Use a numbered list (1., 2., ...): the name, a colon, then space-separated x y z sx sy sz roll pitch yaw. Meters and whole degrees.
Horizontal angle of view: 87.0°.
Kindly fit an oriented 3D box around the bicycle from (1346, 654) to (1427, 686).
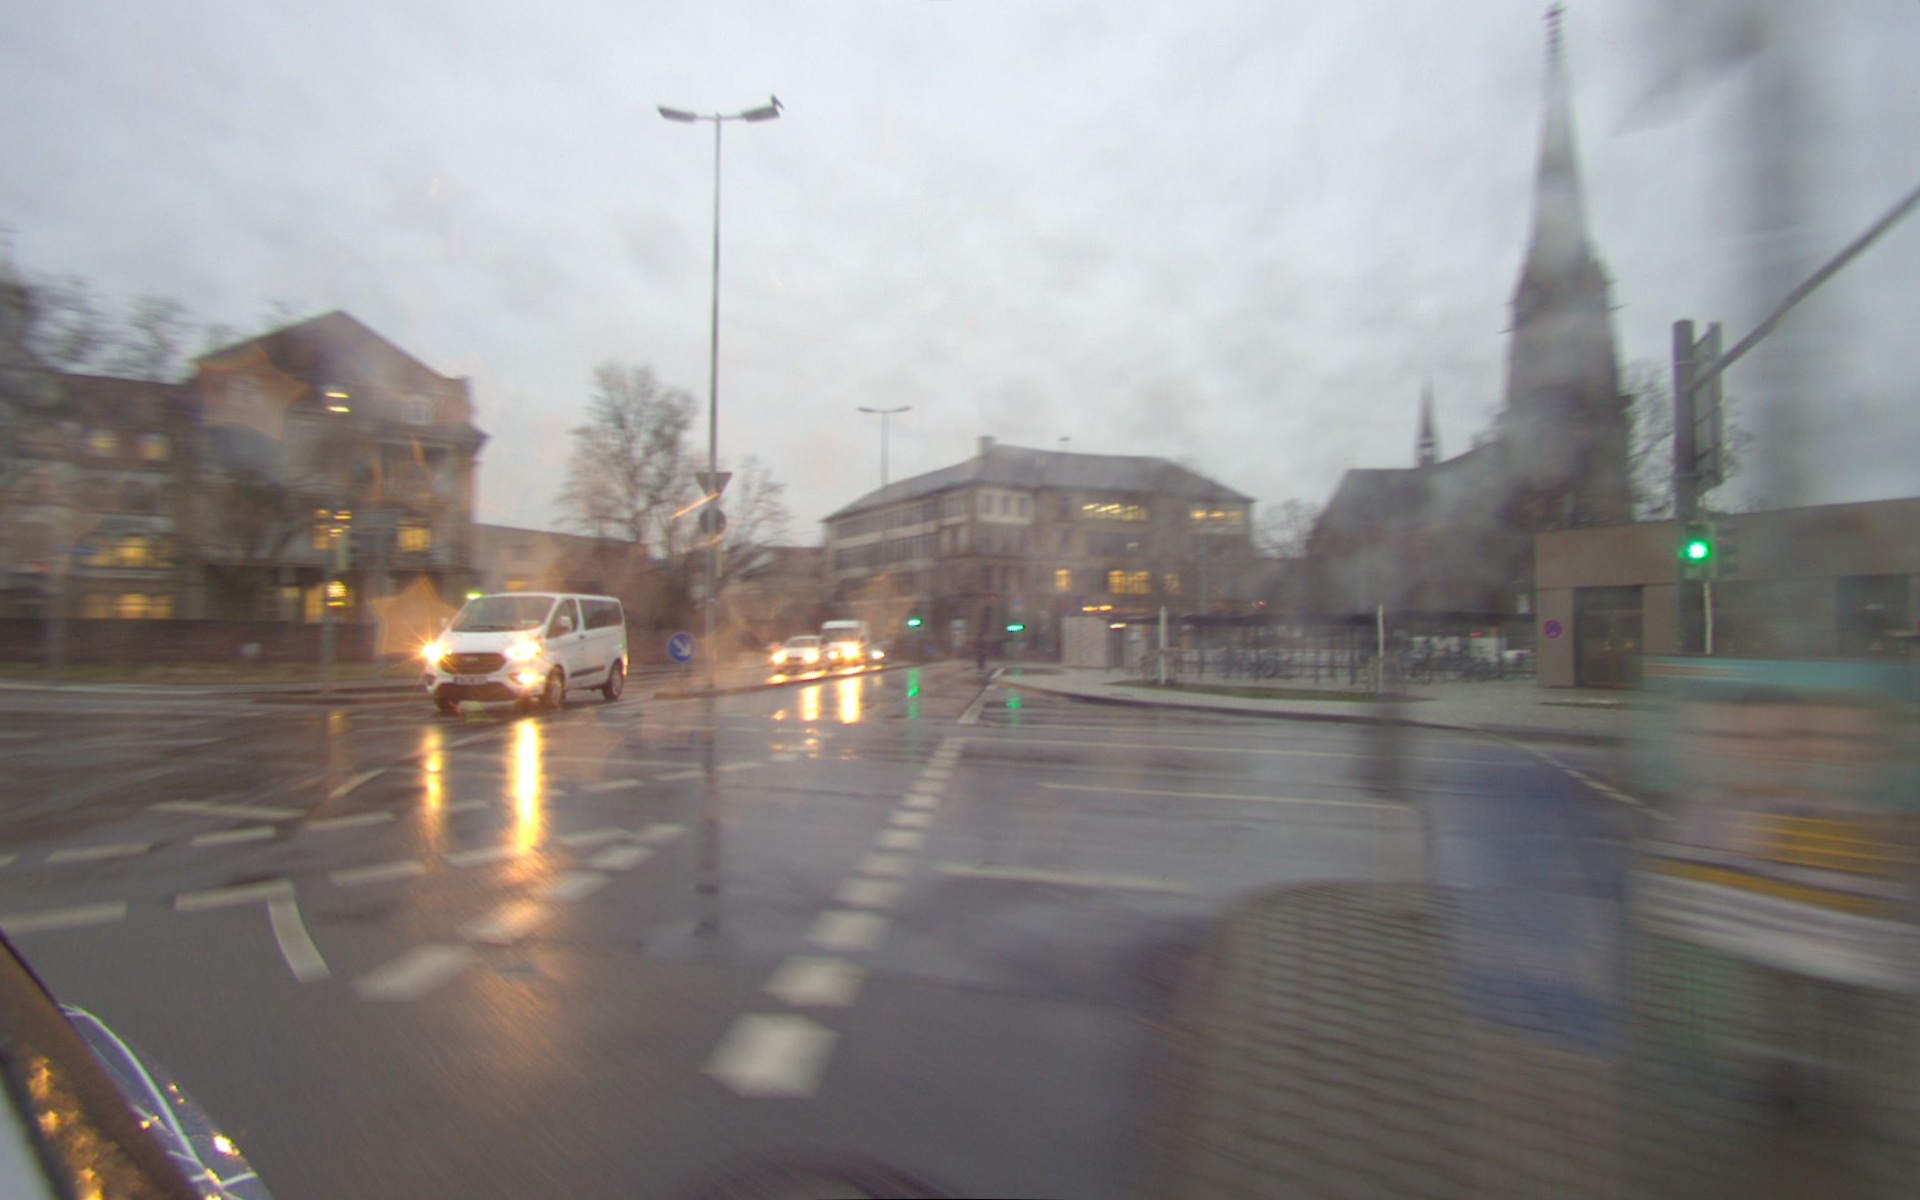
1. bicycle: 15.241 2.491 36.279 0.598 1.113 2.758 0 -3 -34

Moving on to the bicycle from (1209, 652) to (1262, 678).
1. bicycle: 12.779 3.036 47.037 0.636 1.113 2.759 0 -4 -28

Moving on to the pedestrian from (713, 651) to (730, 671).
1. pedestrian: -15.933 4.062 67.588 0.965 1.327 0.817 2 -3 -26

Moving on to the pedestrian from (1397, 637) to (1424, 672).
1. pedestrian: 24.641 2.969 55.355 1.022 1.864 0.847 -2 -3 3

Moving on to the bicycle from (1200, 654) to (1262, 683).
1. bicycle: 10.819 2.754 40.473 0.636 1.113 2.759 0 -4 -28

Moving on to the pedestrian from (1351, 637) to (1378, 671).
1. pedestrian: 23.026 3.061 57.619 1.037 1.864 0.847 -5 -3 3

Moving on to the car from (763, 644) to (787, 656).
1. car: -24.100 6.521 131.805 1.856 1.542 4.012 2 -3 -28

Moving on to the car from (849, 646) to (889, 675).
1. car: -5.530 3.688 61.940 1.814 1.656 4.813 0 -3 2

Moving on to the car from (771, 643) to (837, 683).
1. car: -6.352 2.568 41.613 1.733 1.515 4.310 -2 -3 5

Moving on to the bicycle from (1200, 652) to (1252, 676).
1. bicycle: 12.913 3.123 49.206 0.636 1.113 2.759 0 -4 -31

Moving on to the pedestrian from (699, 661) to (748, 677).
1. pedestrian: -15.769 4.627 67.603 3.046 0.937 0.951 -1 -4 -26

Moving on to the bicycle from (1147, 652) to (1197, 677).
1. bicycle: 9.832 3.020 47.063 0.636 1.113 2.759 0 -4 -28

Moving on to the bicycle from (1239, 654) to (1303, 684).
1. bicycle: 12.386 2.768 40.376 0.636 1.113 2.759 0 -4 -28

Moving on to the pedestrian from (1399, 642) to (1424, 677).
1. pedestrian: 24.625 3.259 55.225 1.022 1.864 0.801 1 -4 4

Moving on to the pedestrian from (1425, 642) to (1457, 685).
1. pedestrian: 20.104 2.653 42.328 0.805 1.693 0.847 -4 -1 3

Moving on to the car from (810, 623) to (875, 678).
1. car: -5.852 2.544 51.019 2.317 2.537 5.863 -2 -3 2

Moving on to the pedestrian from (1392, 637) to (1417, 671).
1. pedestrian: 24.672 3.009 56.144 1.022 1.864 0.847 0 -3 4

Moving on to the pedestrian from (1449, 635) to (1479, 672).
1. pedestrian: 26.111 2.788 52.479 1.022 1.864 0.847 -2 -3 3

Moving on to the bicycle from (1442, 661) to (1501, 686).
1. bicycle: 18.587 2.670 36.818 0.596 0.878 1.869 3 -4 -31

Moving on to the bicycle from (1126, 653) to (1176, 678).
1. bicycle: 8.757 3.035 46.593 0.636 1.113 2.759 0 -4 -28

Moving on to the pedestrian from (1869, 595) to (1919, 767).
1. pedestrian: 11.009 0.856 10.958 1.218 1.872 1.034 -2 -3 2

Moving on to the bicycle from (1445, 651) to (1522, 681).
1. bicycle: 20.393 2.578 39.499 0.636 1.113 2.759 0 -4 -28

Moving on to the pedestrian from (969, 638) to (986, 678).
1. pedestrian: 0.811 2.628 45.675 0.708 1.747 0.981 1 -3 3

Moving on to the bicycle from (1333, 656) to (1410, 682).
1. bicycle: 17.593 2.945 43.412 0.781 1.058 3.203 2 -3 -32

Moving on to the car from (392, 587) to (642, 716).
1. car: -7.677 0.948 18.226 2.110 1.936 5.011 -2 -3 3

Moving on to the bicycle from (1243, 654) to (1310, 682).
1. bicycle: 13.108 2.825 42.046 0.636 1.113 2.756 0 -4 -37

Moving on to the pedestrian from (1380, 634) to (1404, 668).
1. pedestrian: 24.367 2.862 57.079 1.022 1.864 0.847 0 -3 4

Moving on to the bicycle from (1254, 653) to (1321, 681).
1. bicycle: 13.722 2.790 42.511 0.636 1.113 2.757 0 -3 -37

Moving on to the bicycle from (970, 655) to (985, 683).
1. bicycle: 0.815 3.093 45.570 0.616 1.185 1.871 2 -3 2
